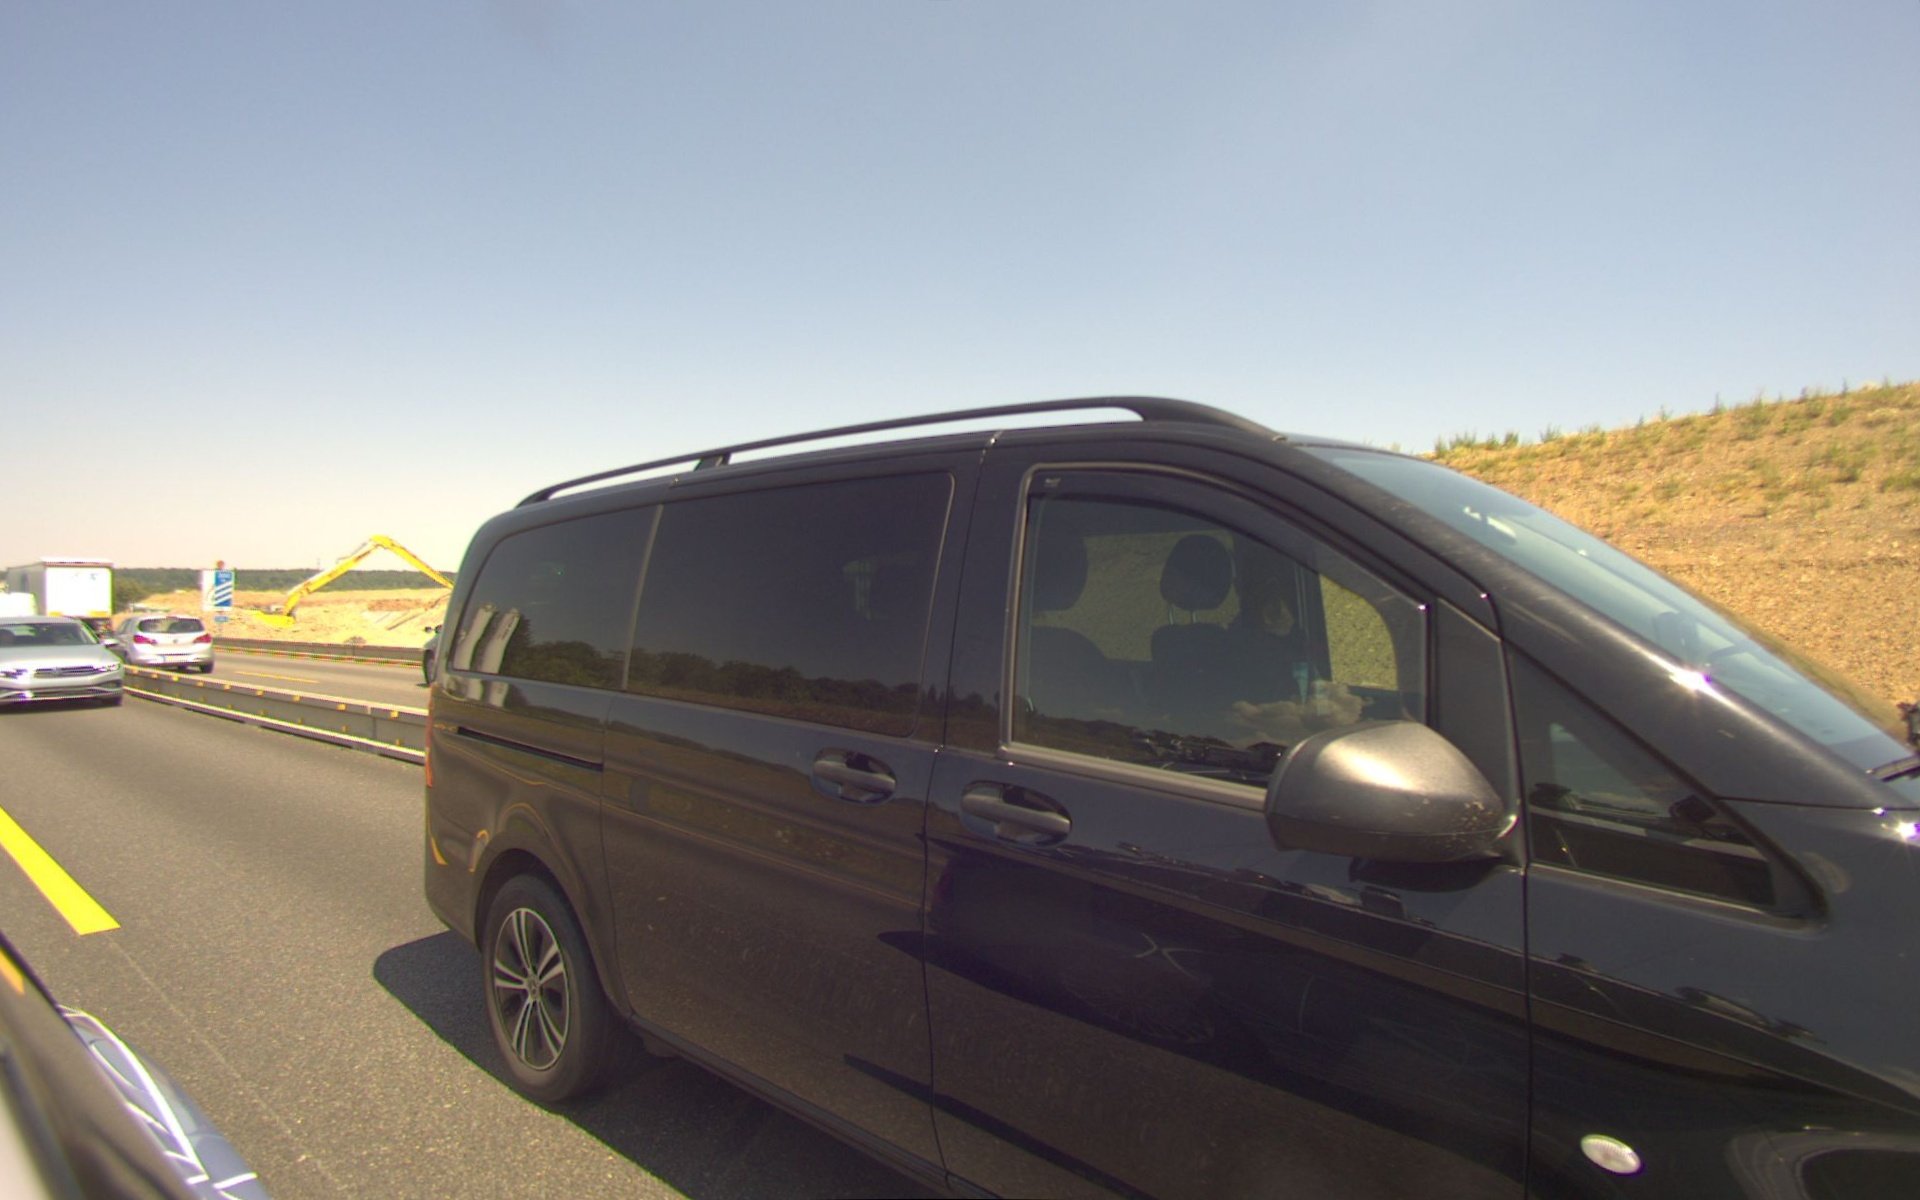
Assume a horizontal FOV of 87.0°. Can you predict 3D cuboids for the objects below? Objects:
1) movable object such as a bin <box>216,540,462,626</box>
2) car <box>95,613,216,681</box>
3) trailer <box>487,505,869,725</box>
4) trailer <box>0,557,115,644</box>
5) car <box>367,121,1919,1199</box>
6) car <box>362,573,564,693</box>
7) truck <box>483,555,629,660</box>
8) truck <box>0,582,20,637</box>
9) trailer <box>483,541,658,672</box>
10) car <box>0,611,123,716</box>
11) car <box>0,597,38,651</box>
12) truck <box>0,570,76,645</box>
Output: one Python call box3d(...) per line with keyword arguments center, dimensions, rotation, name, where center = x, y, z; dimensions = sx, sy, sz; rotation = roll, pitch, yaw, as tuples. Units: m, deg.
box3d(center=(-53.360, -1.450, 88.066), dimensions=(3.386, 6.823, 18.034), rotation=(0, 0, 40), name="movable object such as a bin")
box3d(center=(-20.143, 1.116, 25.284), dimensions=(3.974, 1.513, 1.671), rotation=(0, 0, 41), name="car")
box3d(center=(-4.570, 0.253, 15.520), dimensions=(6.752, 2.707, 2.287), rotation=(-1, -2, 41), name="trailer")
box3d(center=(-47.805, 0.079, 53.373), dimensions=(13.645, 4.125, 2.824), rotation=(0, -1, 41), name="trailer")
box3d(center=(0.488, 0.477, 2.620), dimensions=(5.476, 1.865, 1.854), rotation=(-1, 0, 41), name="car")
box3d(center=(-10.237, 0.635, 20.669), dimensions=(4.862, 2.171, 1.973), rotation=(0, -2, 41), name="car")
box3d(center=(-12.596, 0.199, 31.384), dimensions=(2.548, 2.986, 5.067), rotation=(-1, 0, -43), name="truck")
box3d(center=(-69.448, 0.660, 72.139), dimensions=(9.478, 3.744, 2.617), rotation=(0, 0, 41), name="truck")
box3d(center=(-13.640, 0.174, 36.377), dimensions=(2.762, 4.129, 8.364), rotation=(-1, 0, 2), name="trailer")
box3d(center=(-15.344, 0.981, 16.631), dimensions=(4.098, 1.519, 1.781), rotation=(-2, 0, 41), name="car")
box3d(center=(-43.078, 1.055, 45.346), dimensions=(5.340, 2.309, 1.973), rotation=(0, 0, 40), name="car")
box3d(center=(-52.729, 0.448, 57.693), dimensions=(4.857, 4.049, 2.819), rotation=(0, -1, 41), name="truck")
